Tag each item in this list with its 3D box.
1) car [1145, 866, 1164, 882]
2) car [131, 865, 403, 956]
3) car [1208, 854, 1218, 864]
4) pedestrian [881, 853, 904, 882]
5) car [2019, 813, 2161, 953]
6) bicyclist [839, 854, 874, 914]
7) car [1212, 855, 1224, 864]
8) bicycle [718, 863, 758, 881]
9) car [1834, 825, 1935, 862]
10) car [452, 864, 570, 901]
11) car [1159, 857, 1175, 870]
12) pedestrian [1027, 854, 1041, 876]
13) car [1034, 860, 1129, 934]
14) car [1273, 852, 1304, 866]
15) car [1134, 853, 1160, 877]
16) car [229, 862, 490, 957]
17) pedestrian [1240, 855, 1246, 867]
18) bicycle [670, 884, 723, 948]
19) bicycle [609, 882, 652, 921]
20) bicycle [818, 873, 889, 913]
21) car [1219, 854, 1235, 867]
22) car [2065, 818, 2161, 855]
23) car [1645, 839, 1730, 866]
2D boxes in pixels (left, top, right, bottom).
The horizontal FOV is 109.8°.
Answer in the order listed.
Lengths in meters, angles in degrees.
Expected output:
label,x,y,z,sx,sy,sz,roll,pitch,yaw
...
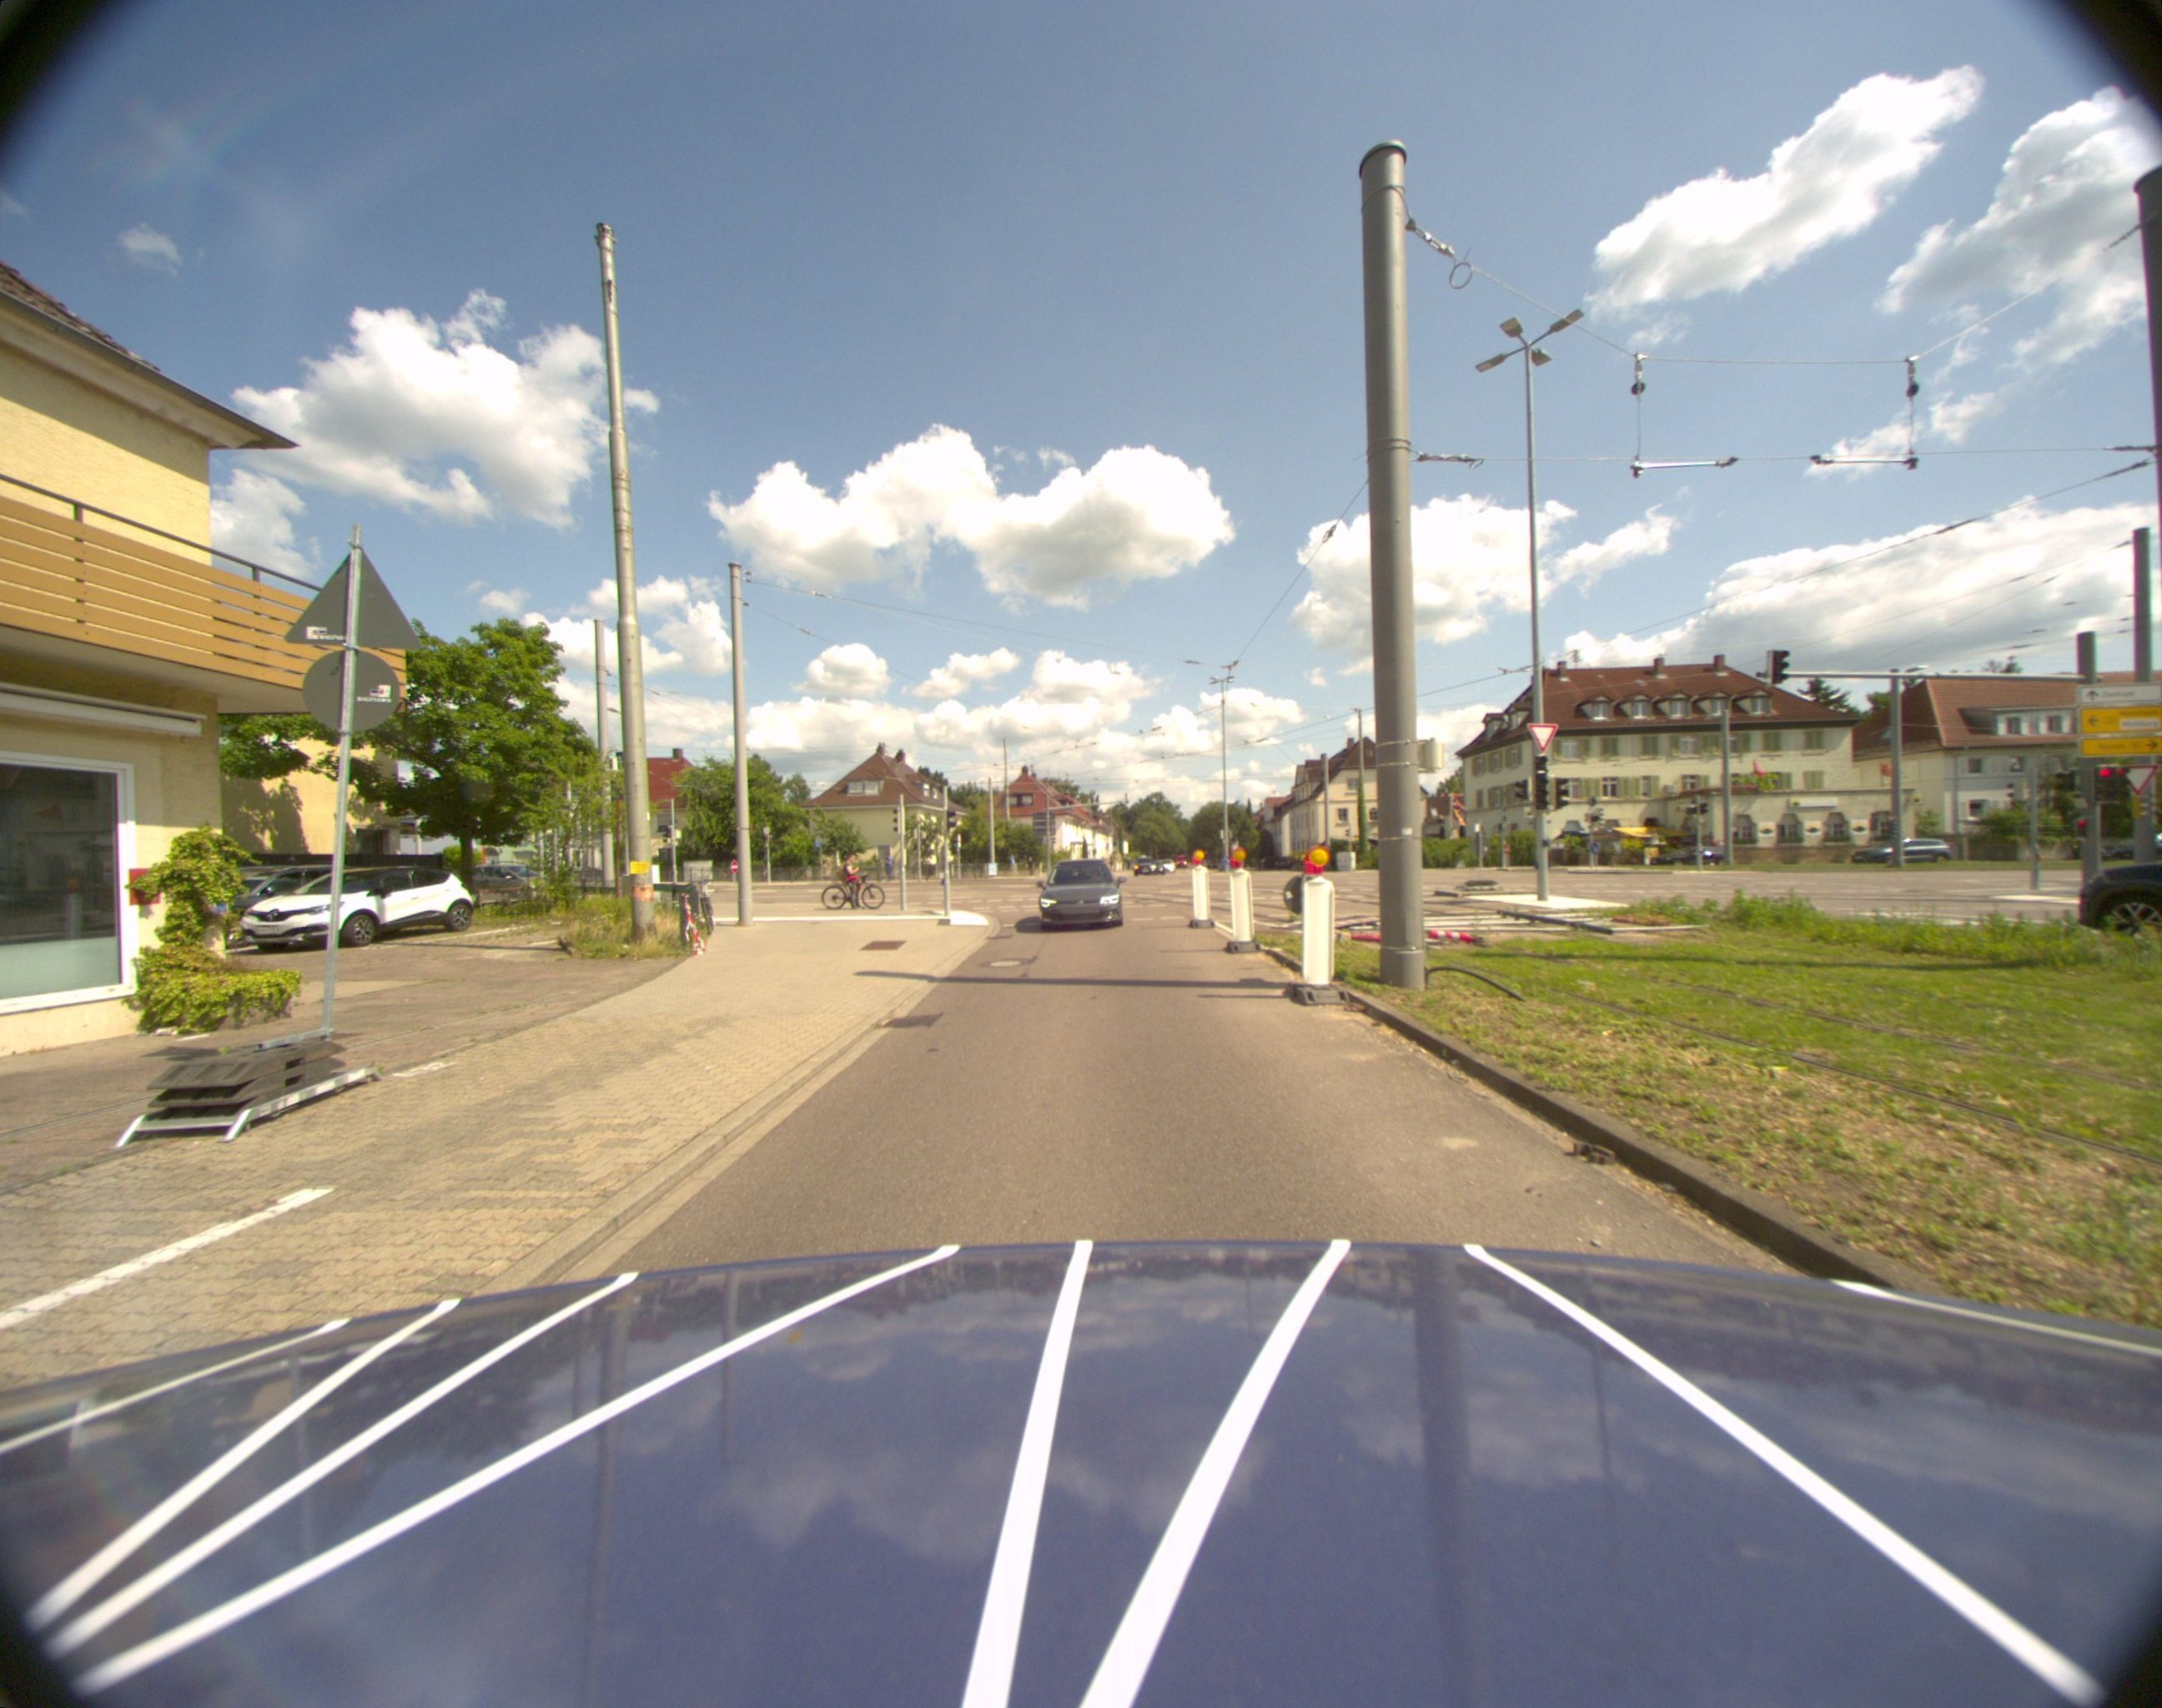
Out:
label,x,y,z,sx,sy,sz,roll,pitch,yaw
car,7.059,1.902,72.299,1.708,1.453,3.156,-1,0,7
car,-17.956,1.151,17.100,1.827,1.612,3.998,-1,1,-2
car,21.406,0.841,123.214,1.561,1.645,3.576,-1,0,10
pedestrian,-11.494,0.799,46.303,1.032,1.724,1.041,-1,0,3
car,14.137,0.329,8.507,1.791,1.710,4.441,-1,0,1
bicyclist,-6.890,0.903,23.317,0.961,1.765,0.718,-2,1,-19
car,19.841,0.792,109.950,1.708,1.288,3.921,-1,0,10
bicycle,-26.384,1.402,58.471,2.800,1.326,0.623,-1,0,-1
car,46.741,-0.621,44.260,3.711,2.002,1.905,-1,1,4
car,-25.734,1.271,34.379,3.995,1.559,1.843,-1,0,5
car,9.697,1.082,85.861,1.708,1.453,3.157,-1,0,8
pedestrian,-3.826,0.890,62.119,0.591,1.757,0.939,-1,0,40
car,0.162,0.890,17.728,1.765,1.465,4.689,-1,0,5
car,22.132,0.484,80.853,1.757,1.378,4.111,-2,-1,37
car,5.438,0.878,62.152,1.775,1.754,4.876,-2,1,7
car,-15.203,1.071,16.387,1.827,1.612,3.998,-1,1,-2
pedestrian,22.397,0.971,104.993,0.632,1.526,0.618,-1,0,1
bicycle,-7.710,1.199,15.322,0.595,1.090,2.273,-2,1,-18
bicycle,-13.806,1.430,23.248,0.704,1.098,1.803,-2,0,-44
bicycle,-6.971,1.185,23.271,2.035,1.095,0.714,-2,1,-20
car,17.688,0.773,92.057,1.708,1.453,3.156,-1,0,7
car,60.203,-1.005,43.804,3.994,2.002,2.001,-1,1,9
car,38.243,-0.104,47.961,3.921,1.574,1.748,-1,0,3
